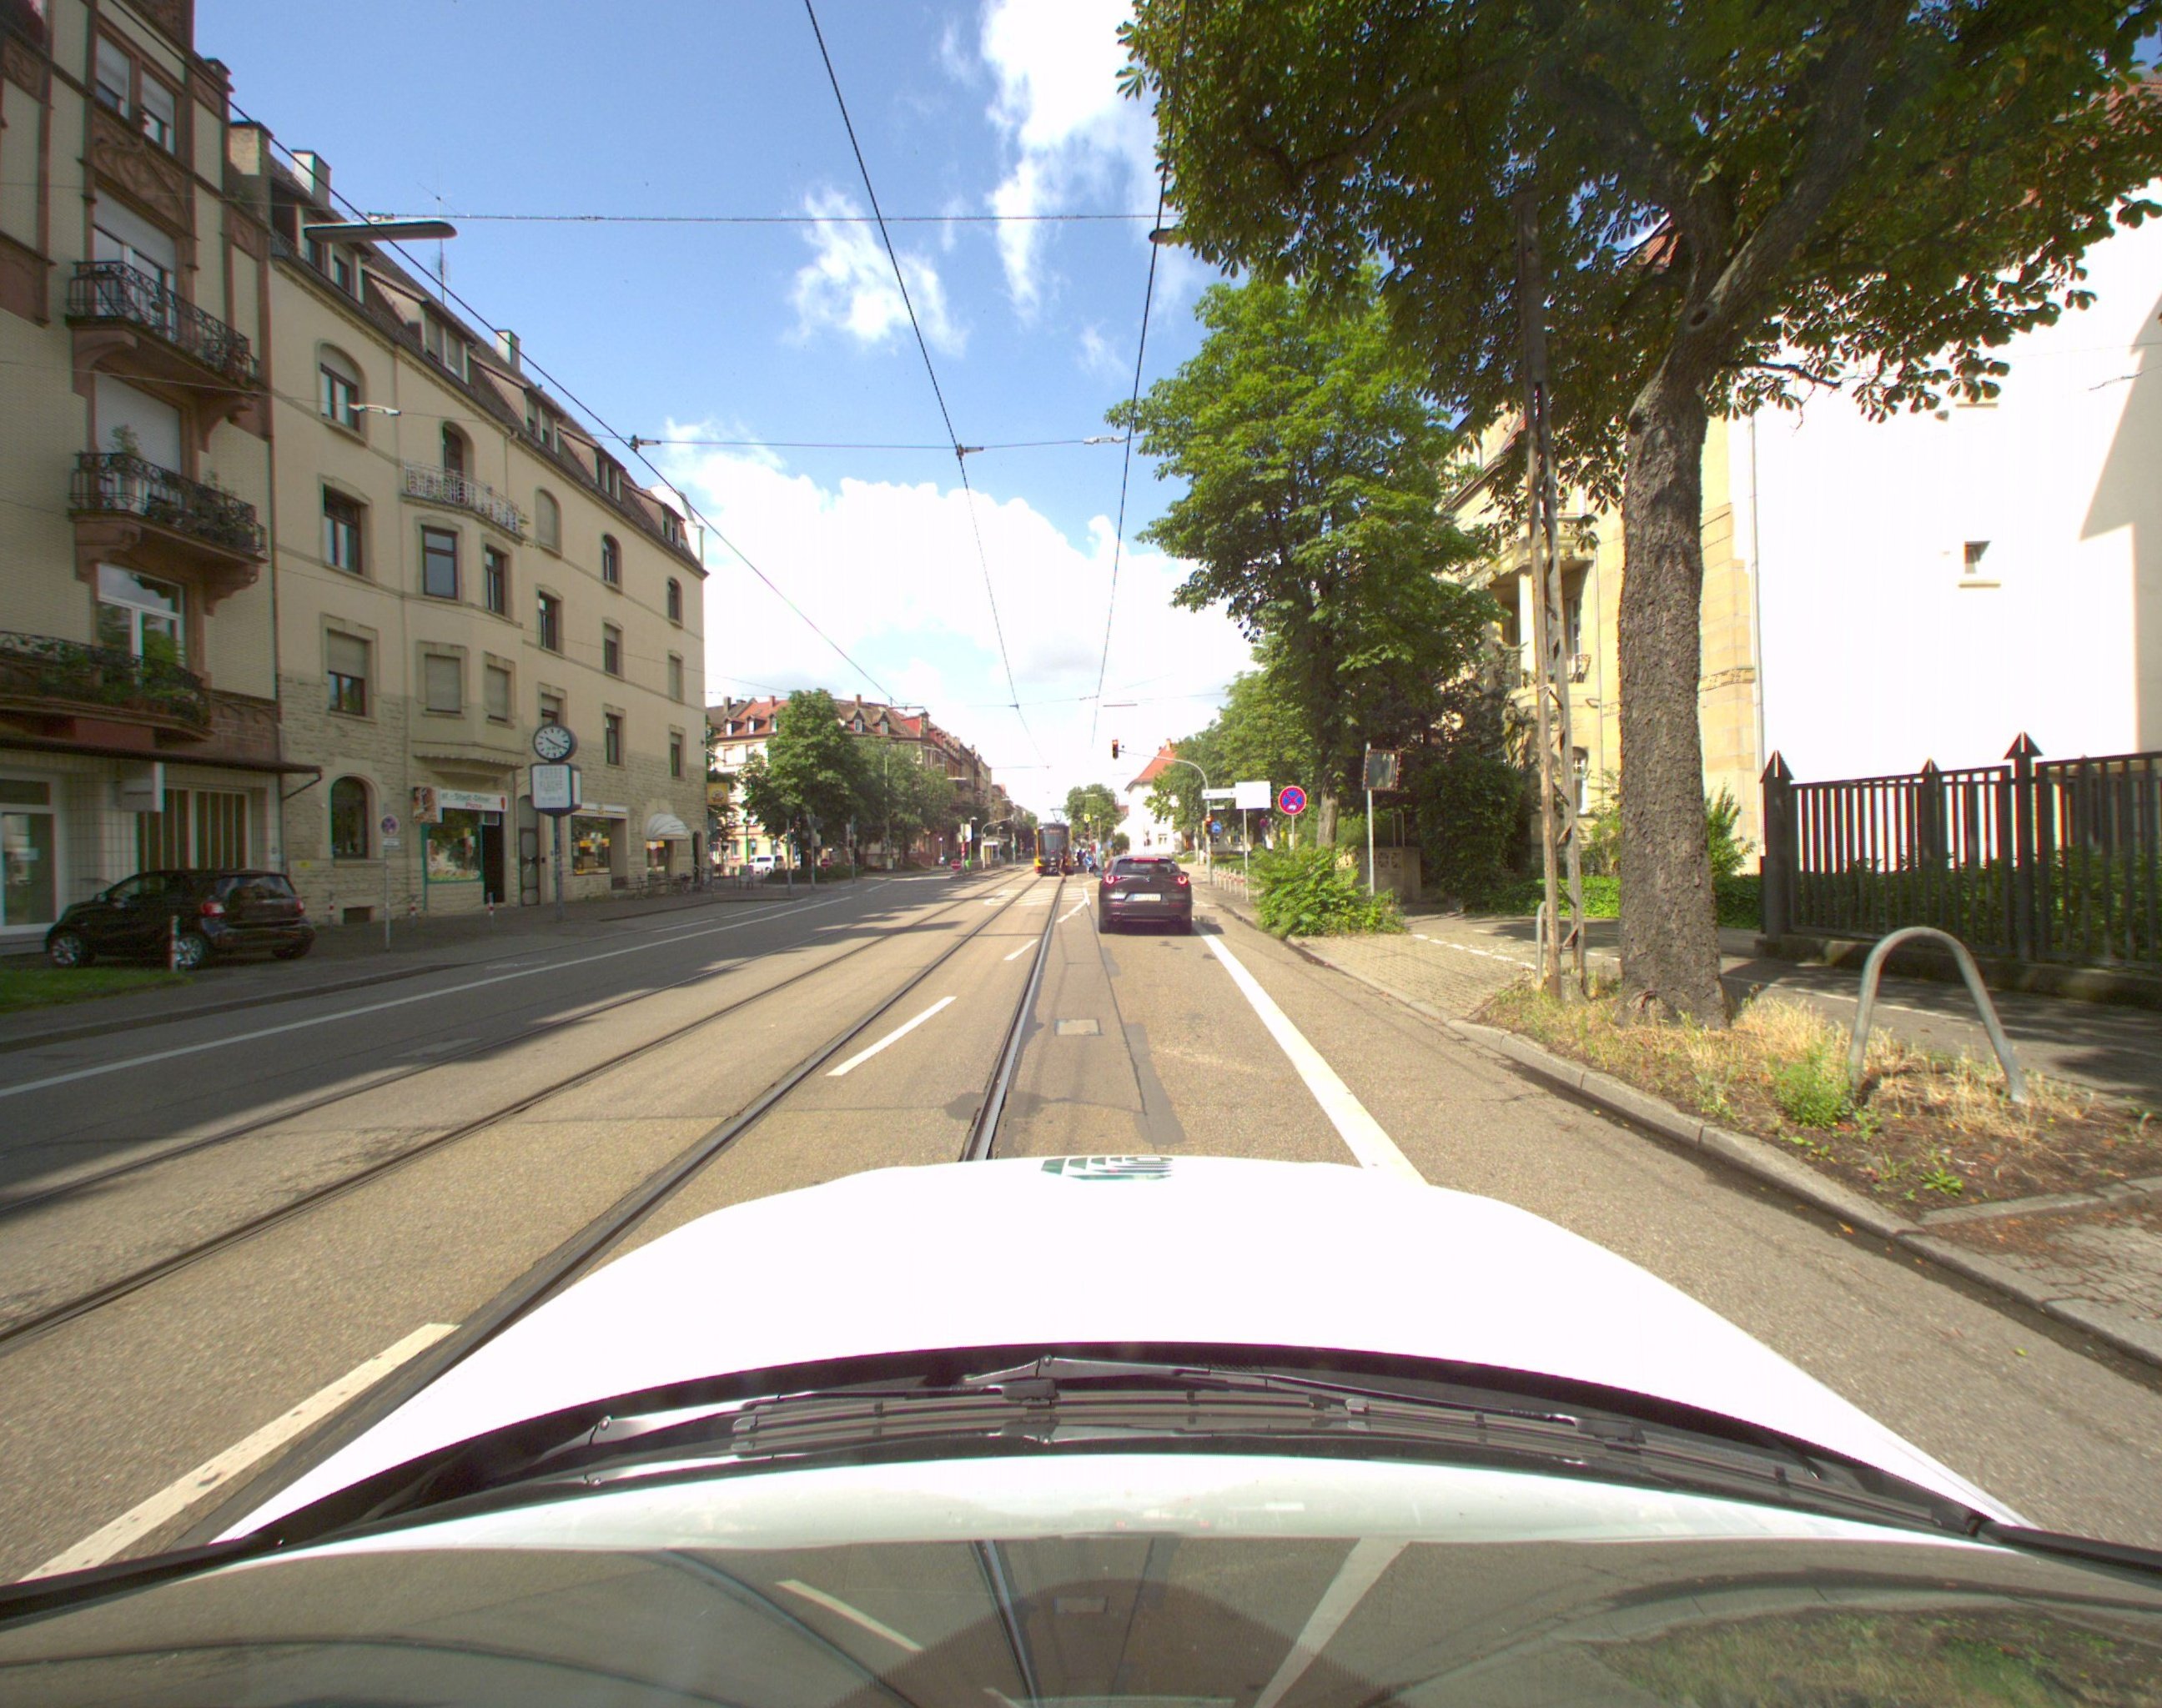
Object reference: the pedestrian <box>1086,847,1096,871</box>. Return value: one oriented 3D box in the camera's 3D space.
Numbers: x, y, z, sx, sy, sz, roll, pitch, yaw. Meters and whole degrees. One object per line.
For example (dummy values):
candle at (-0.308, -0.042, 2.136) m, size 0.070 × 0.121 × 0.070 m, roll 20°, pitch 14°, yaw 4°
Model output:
pedestrian at (0.685, 0.345, 56.043) m, size 0.666 × 1.605 × 0.699 m, roll -1°, pitch 0°, yaw -3°

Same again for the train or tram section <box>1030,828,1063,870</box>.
train or tram section at (-3.152, -0.402, 73.134) m, size 2.647 × 3.527 × 8.484 m, roll -2°, pitch 0°, yaw -4°

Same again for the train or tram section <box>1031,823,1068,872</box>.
train or tram section at (-2.594, -0.450, 64.661) m, size 2.647 × 3.527 × 8.484 m, roll -2°, pitch 0°, yaw -4°

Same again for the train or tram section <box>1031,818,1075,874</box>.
train or tram section at (-2.040, -0.490, 56.172) m, size 2.647 × 3.527 × 8.484 m, roll -2°, pitch 0°, yaw -4°

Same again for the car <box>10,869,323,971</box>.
car at (-14.712, 1.010, 13.236) m, size 3.224 × 1.513 × 1.680 m, roll 0°, pitch 0°, yaw 2°

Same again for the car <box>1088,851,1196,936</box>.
car at (1.136, 0.717, 17.035) m, size 1.785 × 1.512 × 4.347 m, roll 0°, pitch 0°, yaw -2°

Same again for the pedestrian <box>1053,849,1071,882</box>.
pedestrian at (-0.952, 0.583, 41.174) m, size 0.873 × 1.605 × 0.631 m, roll -1°, pitch 0°, yaw -3°

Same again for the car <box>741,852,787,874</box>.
car at (-34.706, 0.998, 89.266) m, size 4.096 × 2.013 × 2.005 m, roll -5°, pitch 0°, yaw 8°

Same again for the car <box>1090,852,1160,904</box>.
car at (1.354, 0.712, 27.080) m, size 1.781 × 1.492 × 4.877 m, roll -2°, pitch 0°, yaw -3°
